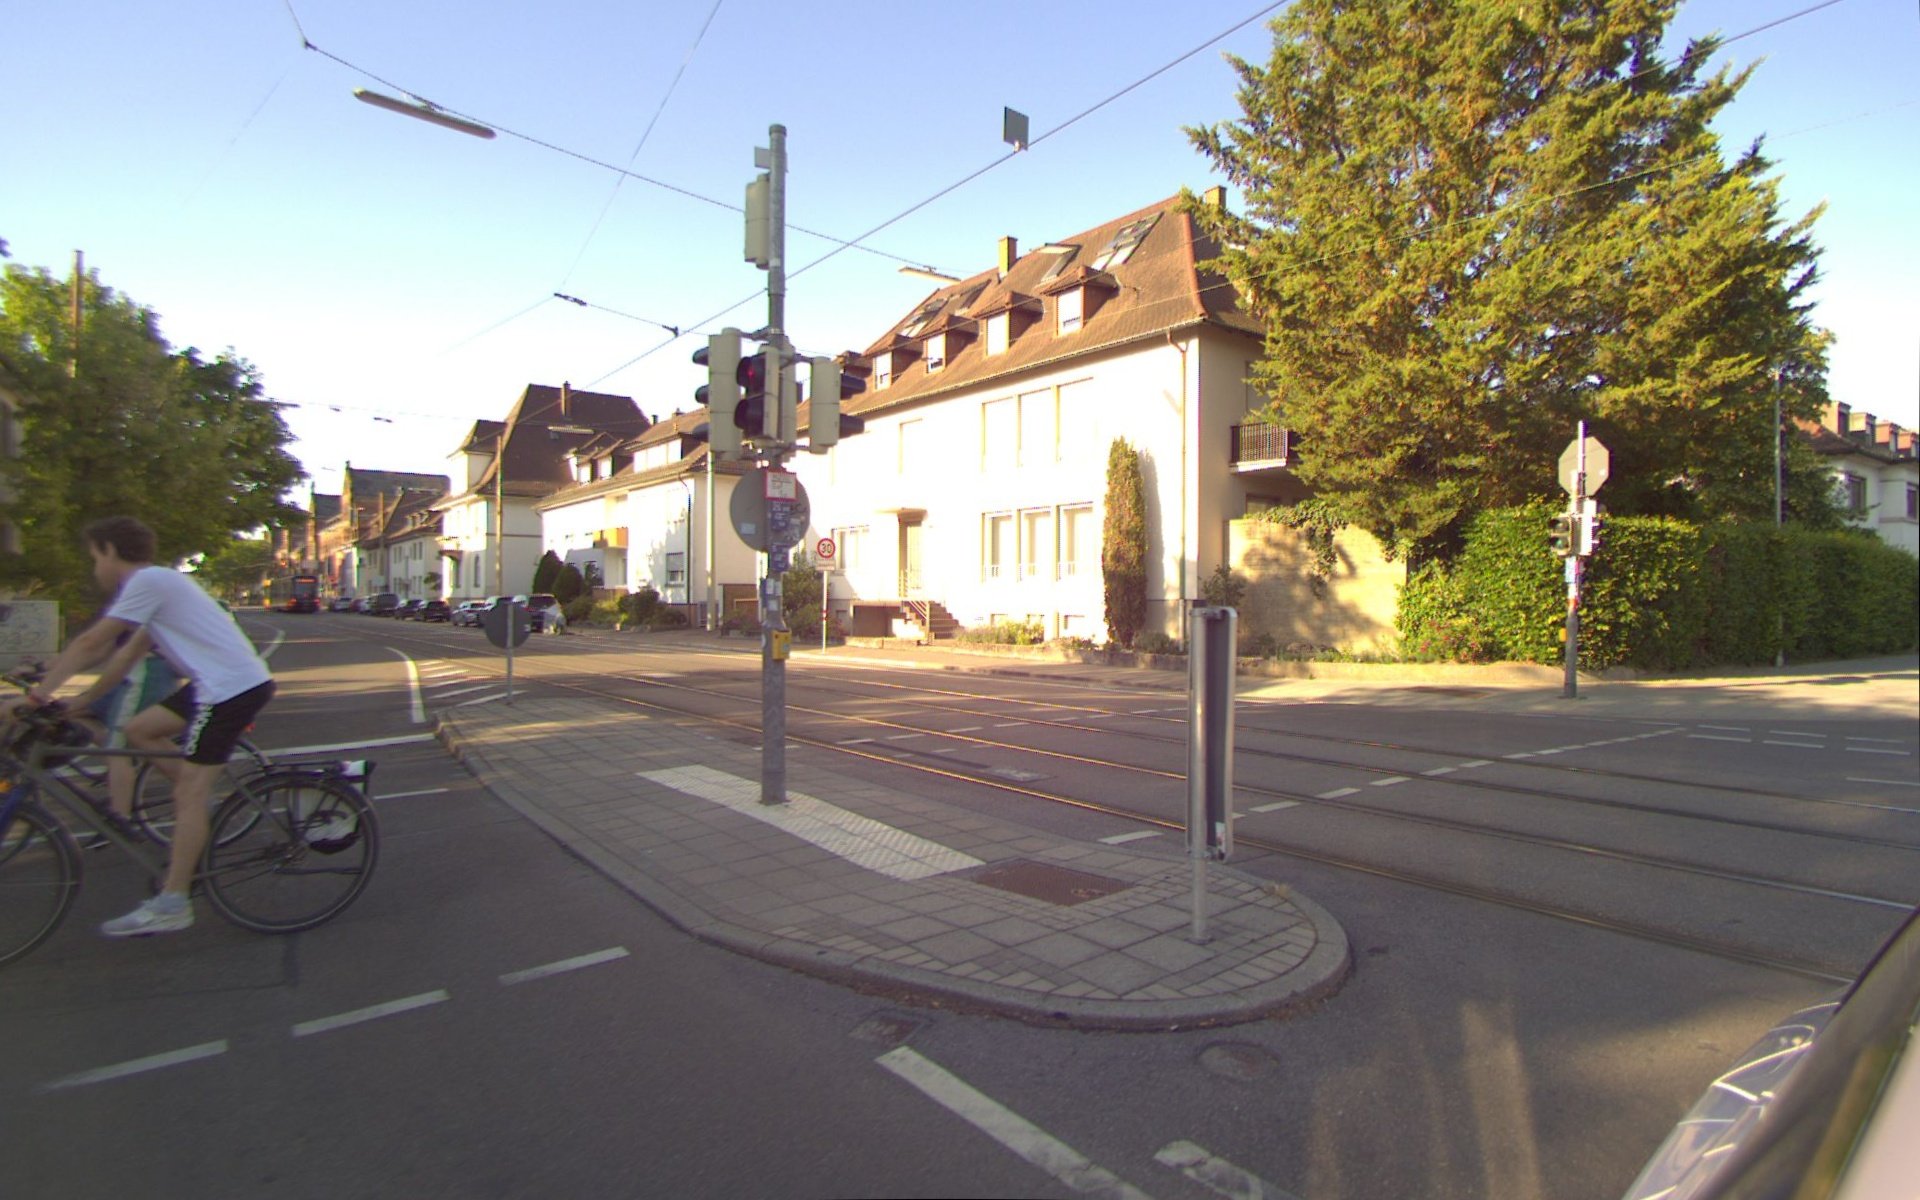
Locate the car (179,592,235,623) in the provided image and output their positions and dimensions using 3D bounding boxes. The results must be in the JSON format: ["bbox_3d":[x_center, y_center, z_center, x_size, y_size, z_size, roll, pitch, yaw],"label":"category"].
[{"bbox_3d":[-33.973,0.298,45.705,1.963,1.327,3.998,0,0,-37],"label":"car"}]

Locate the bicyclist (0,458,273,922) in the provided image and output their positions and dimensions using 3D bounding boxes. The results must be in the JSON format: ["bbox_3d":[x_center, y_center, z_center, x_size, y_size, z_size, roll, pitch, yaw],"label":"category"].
[{"bbox_3d":[-3.542,0.343,4.333,0.875,1.754,0.818,-1,-2,-26],"label":"bicyclist"}]

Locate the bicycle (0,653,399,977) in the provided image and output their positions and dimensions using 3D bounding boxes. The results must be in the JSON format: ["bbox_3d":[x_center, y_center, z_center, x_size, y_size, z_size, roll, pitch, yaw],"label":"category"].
[{"bbox_3d":[-3.495,0.860,4.346,1.866,1.199,0.575,0,-2,-26],"label":"bicycle"}]

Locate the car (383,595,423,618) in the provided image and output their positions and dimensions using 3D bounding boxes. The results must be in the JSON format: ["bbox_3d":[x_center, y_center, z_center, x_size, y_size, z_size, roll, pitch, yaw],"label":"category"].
[{"bbox_3d":[-40.162,0.482,72.949,1.963,1.483,3.997,0,-2,-37],"label":"car"}]

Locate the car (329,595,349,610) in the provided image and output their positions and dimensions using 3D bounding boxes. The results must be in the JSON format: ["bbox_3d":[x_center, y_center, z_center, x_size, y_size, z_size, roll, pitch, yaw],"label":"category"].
[{"bbox_3d":[-64.483,0.228,105.003,1.454,1.467,3.438,0,-2,-37],"label":"car"}]

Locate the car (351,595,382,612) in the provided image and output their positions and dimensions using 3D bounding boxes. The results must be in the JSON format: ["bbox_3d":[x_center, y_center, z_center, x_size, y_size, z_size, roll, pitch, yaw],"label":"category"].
[{"bbox_3d":[-52.376,0.315,89.303,1.963,1.460,3.998,0,0,-37],"label":"car"}]

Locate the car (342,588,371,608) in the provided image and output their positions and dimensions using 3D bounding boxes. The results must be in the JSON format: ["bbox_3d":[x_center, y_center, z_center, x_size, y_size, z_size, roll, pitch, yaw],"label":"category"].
[{"bbox_3d":[-58.500,-0.204,98.061,1.963,1.750,3.997,0,-1,-37],"label":"car"}]

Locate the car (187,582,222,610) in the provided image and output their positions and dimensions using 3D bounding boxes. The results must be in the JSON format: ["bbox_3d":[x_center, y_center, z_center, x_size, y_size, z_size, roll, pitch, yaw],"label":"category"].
[{"bbox_3d":[-58.026,-0.297,77.753,1.964,2.039,3.994,0,-2,-40],"label":"car"}]

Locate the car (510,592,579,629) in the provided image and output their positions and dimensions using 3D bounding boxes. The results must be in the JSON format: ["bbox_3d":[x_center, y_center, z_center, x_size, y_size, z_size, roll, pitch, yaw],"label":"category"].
[{"bbox_3d":[-18.721,0.439,45.497,1.963,1.616,3.998,0,0,-37],"label":"car"}]

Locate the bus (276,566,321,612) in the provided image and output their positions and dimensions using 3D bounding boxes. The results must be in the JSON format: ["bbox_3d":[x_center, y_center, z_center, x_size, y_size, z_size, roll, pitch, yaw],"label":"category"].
[{"bbox_3d":[-62.658,-0.920,95.701,2.813,3.876,13.314,0,-2,-37],"label":"bus"}]

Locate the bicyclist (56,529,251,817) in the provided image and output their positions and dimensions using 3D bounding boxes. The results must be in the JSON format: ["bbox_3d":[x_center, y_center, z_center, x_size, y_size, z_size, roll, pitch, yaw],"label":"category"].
[{"bbox_3d":[-4.842,0.407,6.127,0.877,1.582,0.714,0,-2,-37],"label":"bicyclist"}]

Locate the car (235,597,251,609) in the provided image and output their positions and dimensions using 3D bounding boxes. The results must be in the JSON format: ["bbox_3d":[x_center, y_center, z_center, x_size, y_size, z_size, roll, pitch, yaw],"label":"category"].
[{"bbox_3d":[-107.088,0.422,151.103,1.591,1.641,3.716,0,3,-42],"label":"car"}]

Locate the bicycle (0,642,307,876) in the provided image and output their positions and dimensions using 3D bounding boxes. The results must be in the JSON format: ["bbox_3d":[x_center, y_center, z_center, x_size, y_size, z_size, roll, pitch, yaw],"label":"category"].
[{"bbox_3d":[-5.008,0.889,5.939,1.929,1.199,0.492,-1,-1,-40],"label":"bicycle"}]

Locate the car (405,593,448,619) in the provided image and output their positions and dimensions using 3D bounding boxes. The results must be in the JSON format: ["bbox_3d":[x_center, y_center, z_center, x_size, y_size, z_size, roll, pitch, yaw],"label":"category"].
[{"bbox_3d":[-35.811,0.394,67.902,1.963,1.648,3.998,-1,0,-37],"label":"car"}]

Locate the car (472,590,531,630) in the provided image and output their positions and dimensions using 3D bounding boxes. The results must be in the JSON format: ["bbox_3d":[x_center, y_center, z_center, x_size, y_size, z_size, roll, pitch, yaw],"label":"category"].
[{"bbox_3d":[-23.908,0.511,52.722,1.963,1.905,3.999,2,0,-37],"label":"car"}]

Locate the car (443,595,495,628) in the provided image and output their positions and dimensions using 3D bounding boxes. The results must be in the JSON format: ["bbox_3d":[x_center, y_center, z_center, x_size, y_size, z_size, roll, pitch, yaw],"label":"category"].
[{"bbox_3d":[-28.021,0.617,57.727,1.963,1.792,3.998,0,0,-37],"label":"car"}]

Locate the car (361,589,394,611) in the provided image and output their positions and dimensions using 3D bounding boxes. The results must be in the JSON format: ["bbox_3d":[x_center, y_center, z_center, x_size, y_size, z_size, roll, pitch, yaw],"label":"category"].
[{"bbox_3d":[-48.925,0.001,85.014,1.963,1.794,3.998,0,0,-37],"label":"car"}]
